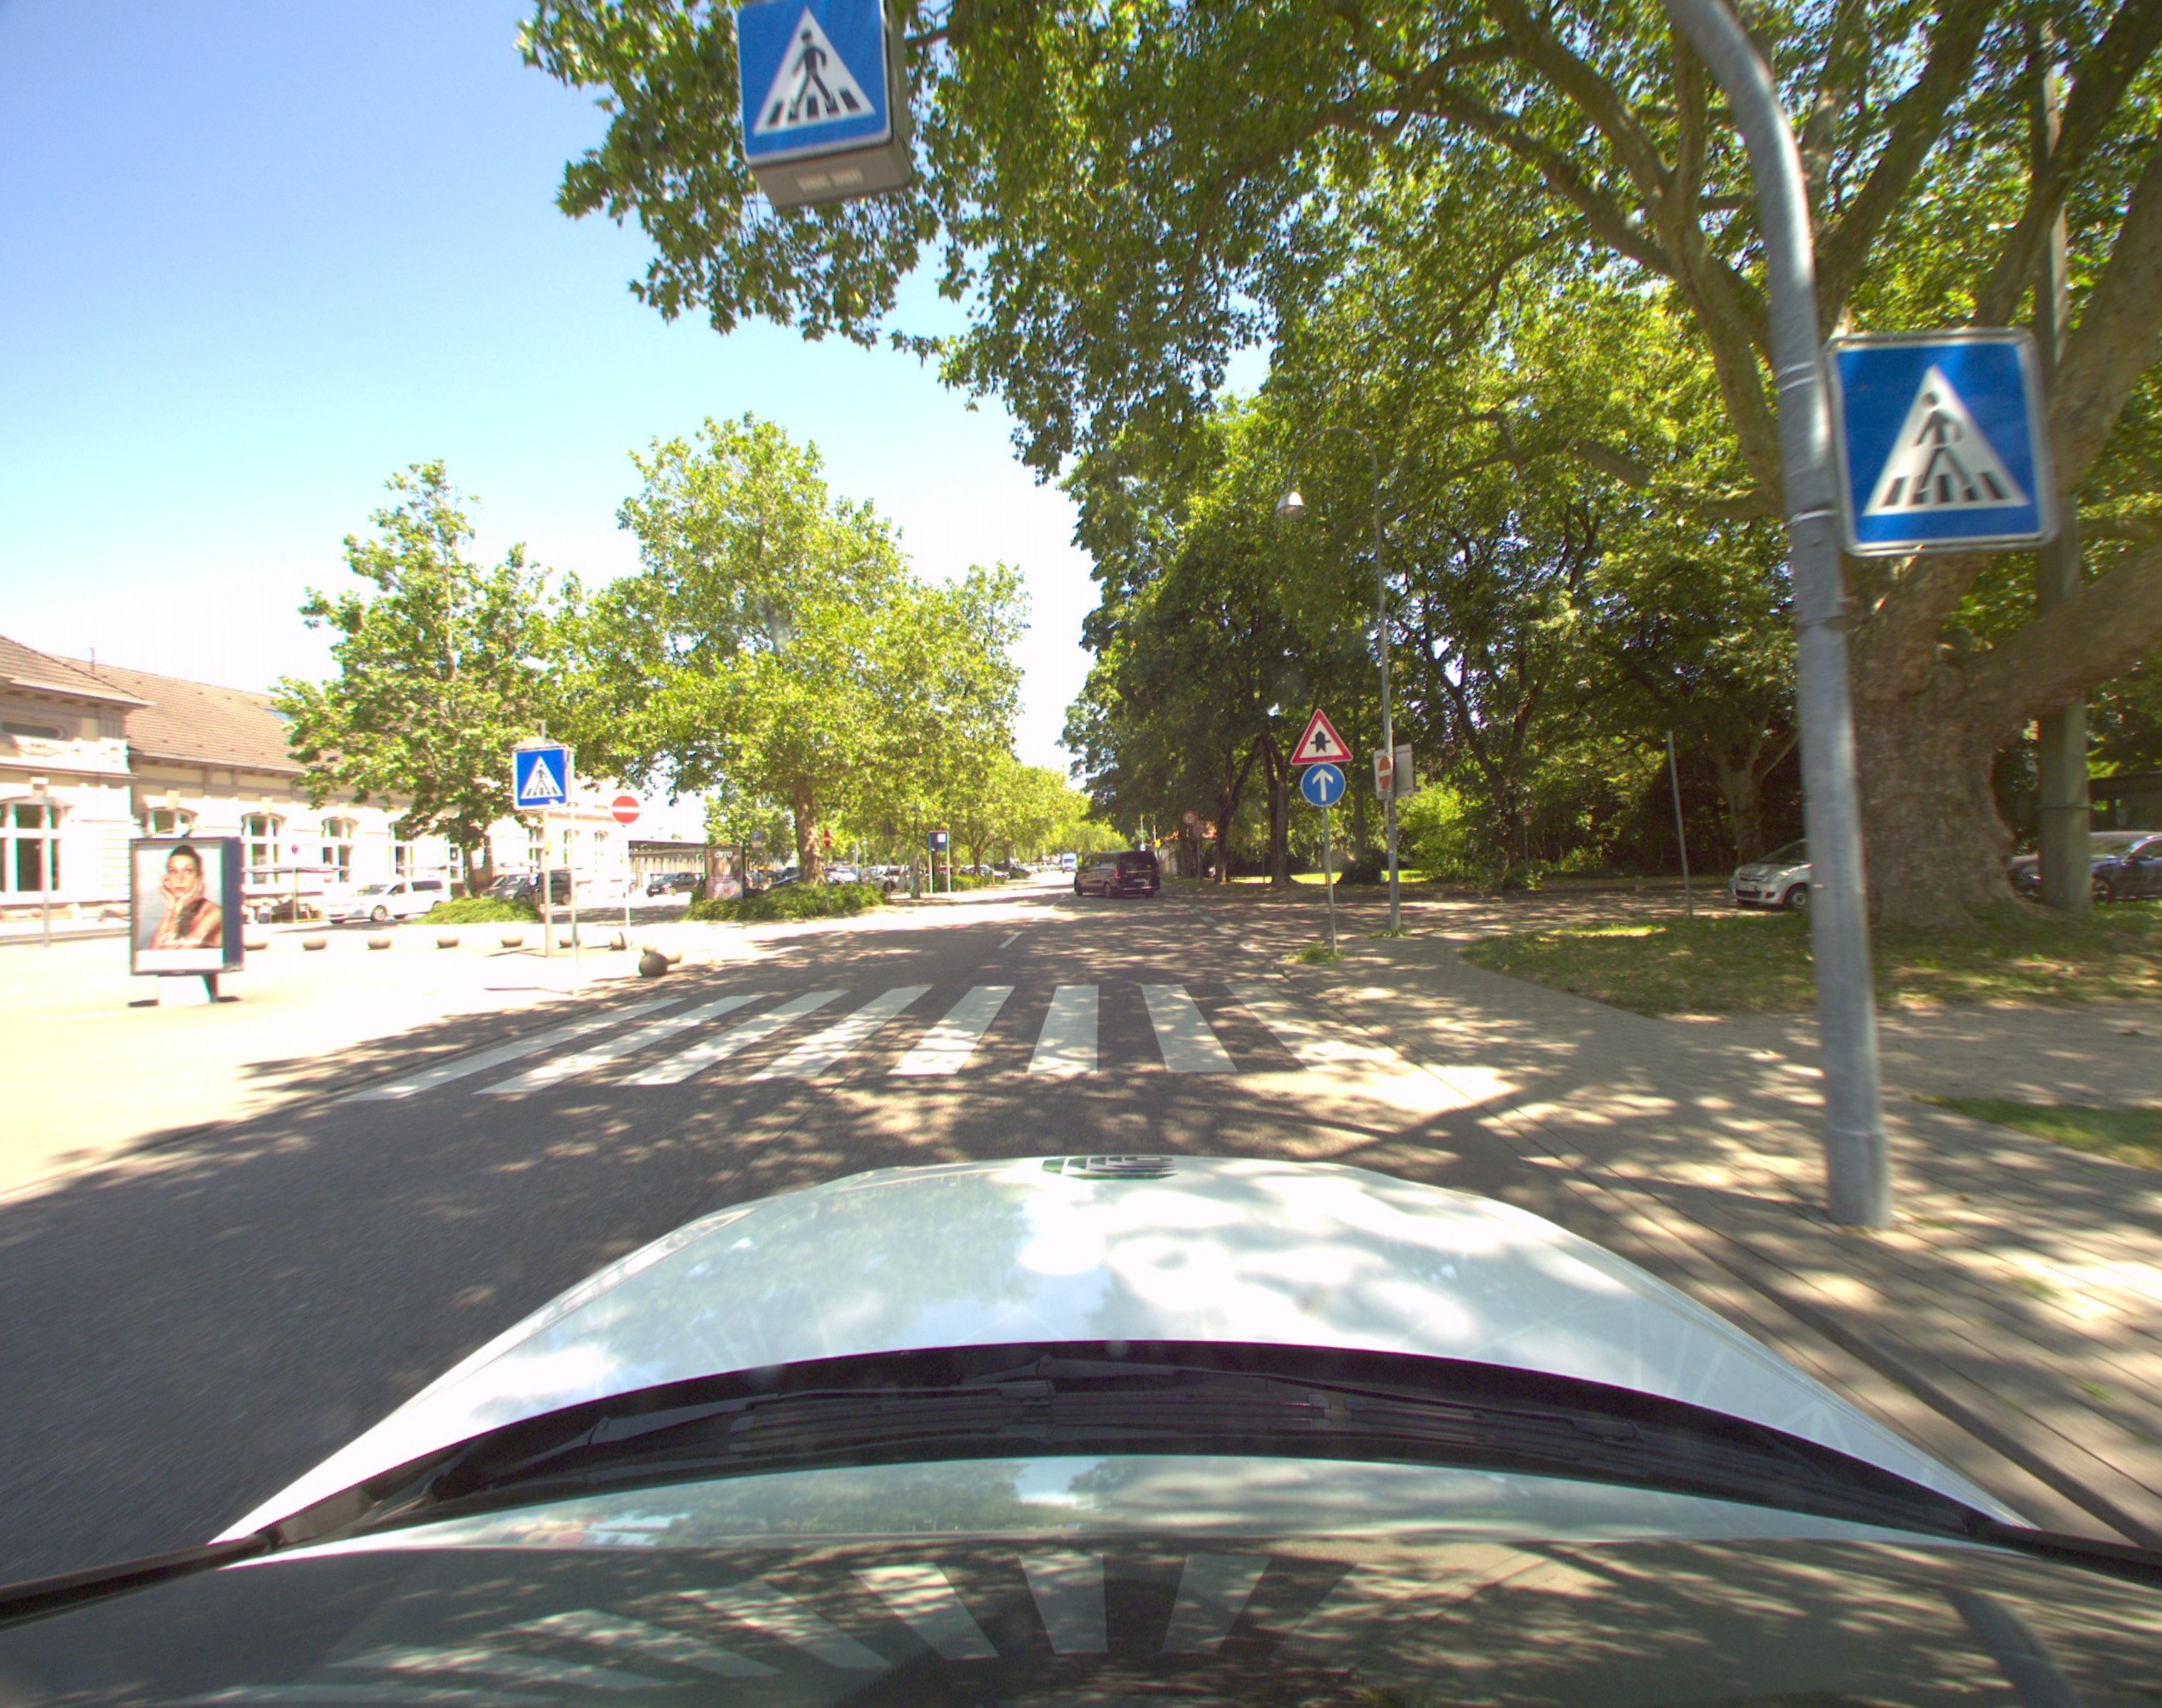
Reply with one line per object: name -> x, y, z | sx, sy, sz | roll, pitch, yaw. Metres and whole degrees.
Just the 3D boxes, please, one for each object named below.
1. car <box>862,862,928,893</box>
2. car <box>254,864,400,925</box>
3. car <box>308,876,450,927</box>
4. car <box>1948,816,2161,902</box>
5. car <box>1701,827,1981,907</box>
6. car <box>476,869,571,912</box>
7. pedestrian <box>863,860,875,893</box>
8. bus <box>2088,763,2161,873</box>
car -> -11.924, 1.496, 52.131 | 3.996, 1.782, 1.988 | -2, -2, -17
car -> -32.870, 1.671, 35.744 | 1.713, 2.468, 5.004 | -1, -1, 0
car -> -29.539, 1.933, 34.499 | 1.745, 1.917, 4.776 | -2, -2, 1
car -> 21.573, 0.053, 16.905 | 4.803, 1.607, 2.002 | -2, -1, 3
car -> 16.274, 0.264, 17.647 | 4.086, 1.466, 2.002 | -2, 0, 4
car -> -28.626, 1.850, 41.991 | 1.986, 2.014, 4.001 | -2, -1, 1
pedestrian -> -13.131, 1.410, 50.497 | 0.625, 2.014, 0.568 | -2, -3, -12
bus -> 35.664, -1.201, 22.559 | 12.333, 2.978, 2.269 | -2, -2, 1
